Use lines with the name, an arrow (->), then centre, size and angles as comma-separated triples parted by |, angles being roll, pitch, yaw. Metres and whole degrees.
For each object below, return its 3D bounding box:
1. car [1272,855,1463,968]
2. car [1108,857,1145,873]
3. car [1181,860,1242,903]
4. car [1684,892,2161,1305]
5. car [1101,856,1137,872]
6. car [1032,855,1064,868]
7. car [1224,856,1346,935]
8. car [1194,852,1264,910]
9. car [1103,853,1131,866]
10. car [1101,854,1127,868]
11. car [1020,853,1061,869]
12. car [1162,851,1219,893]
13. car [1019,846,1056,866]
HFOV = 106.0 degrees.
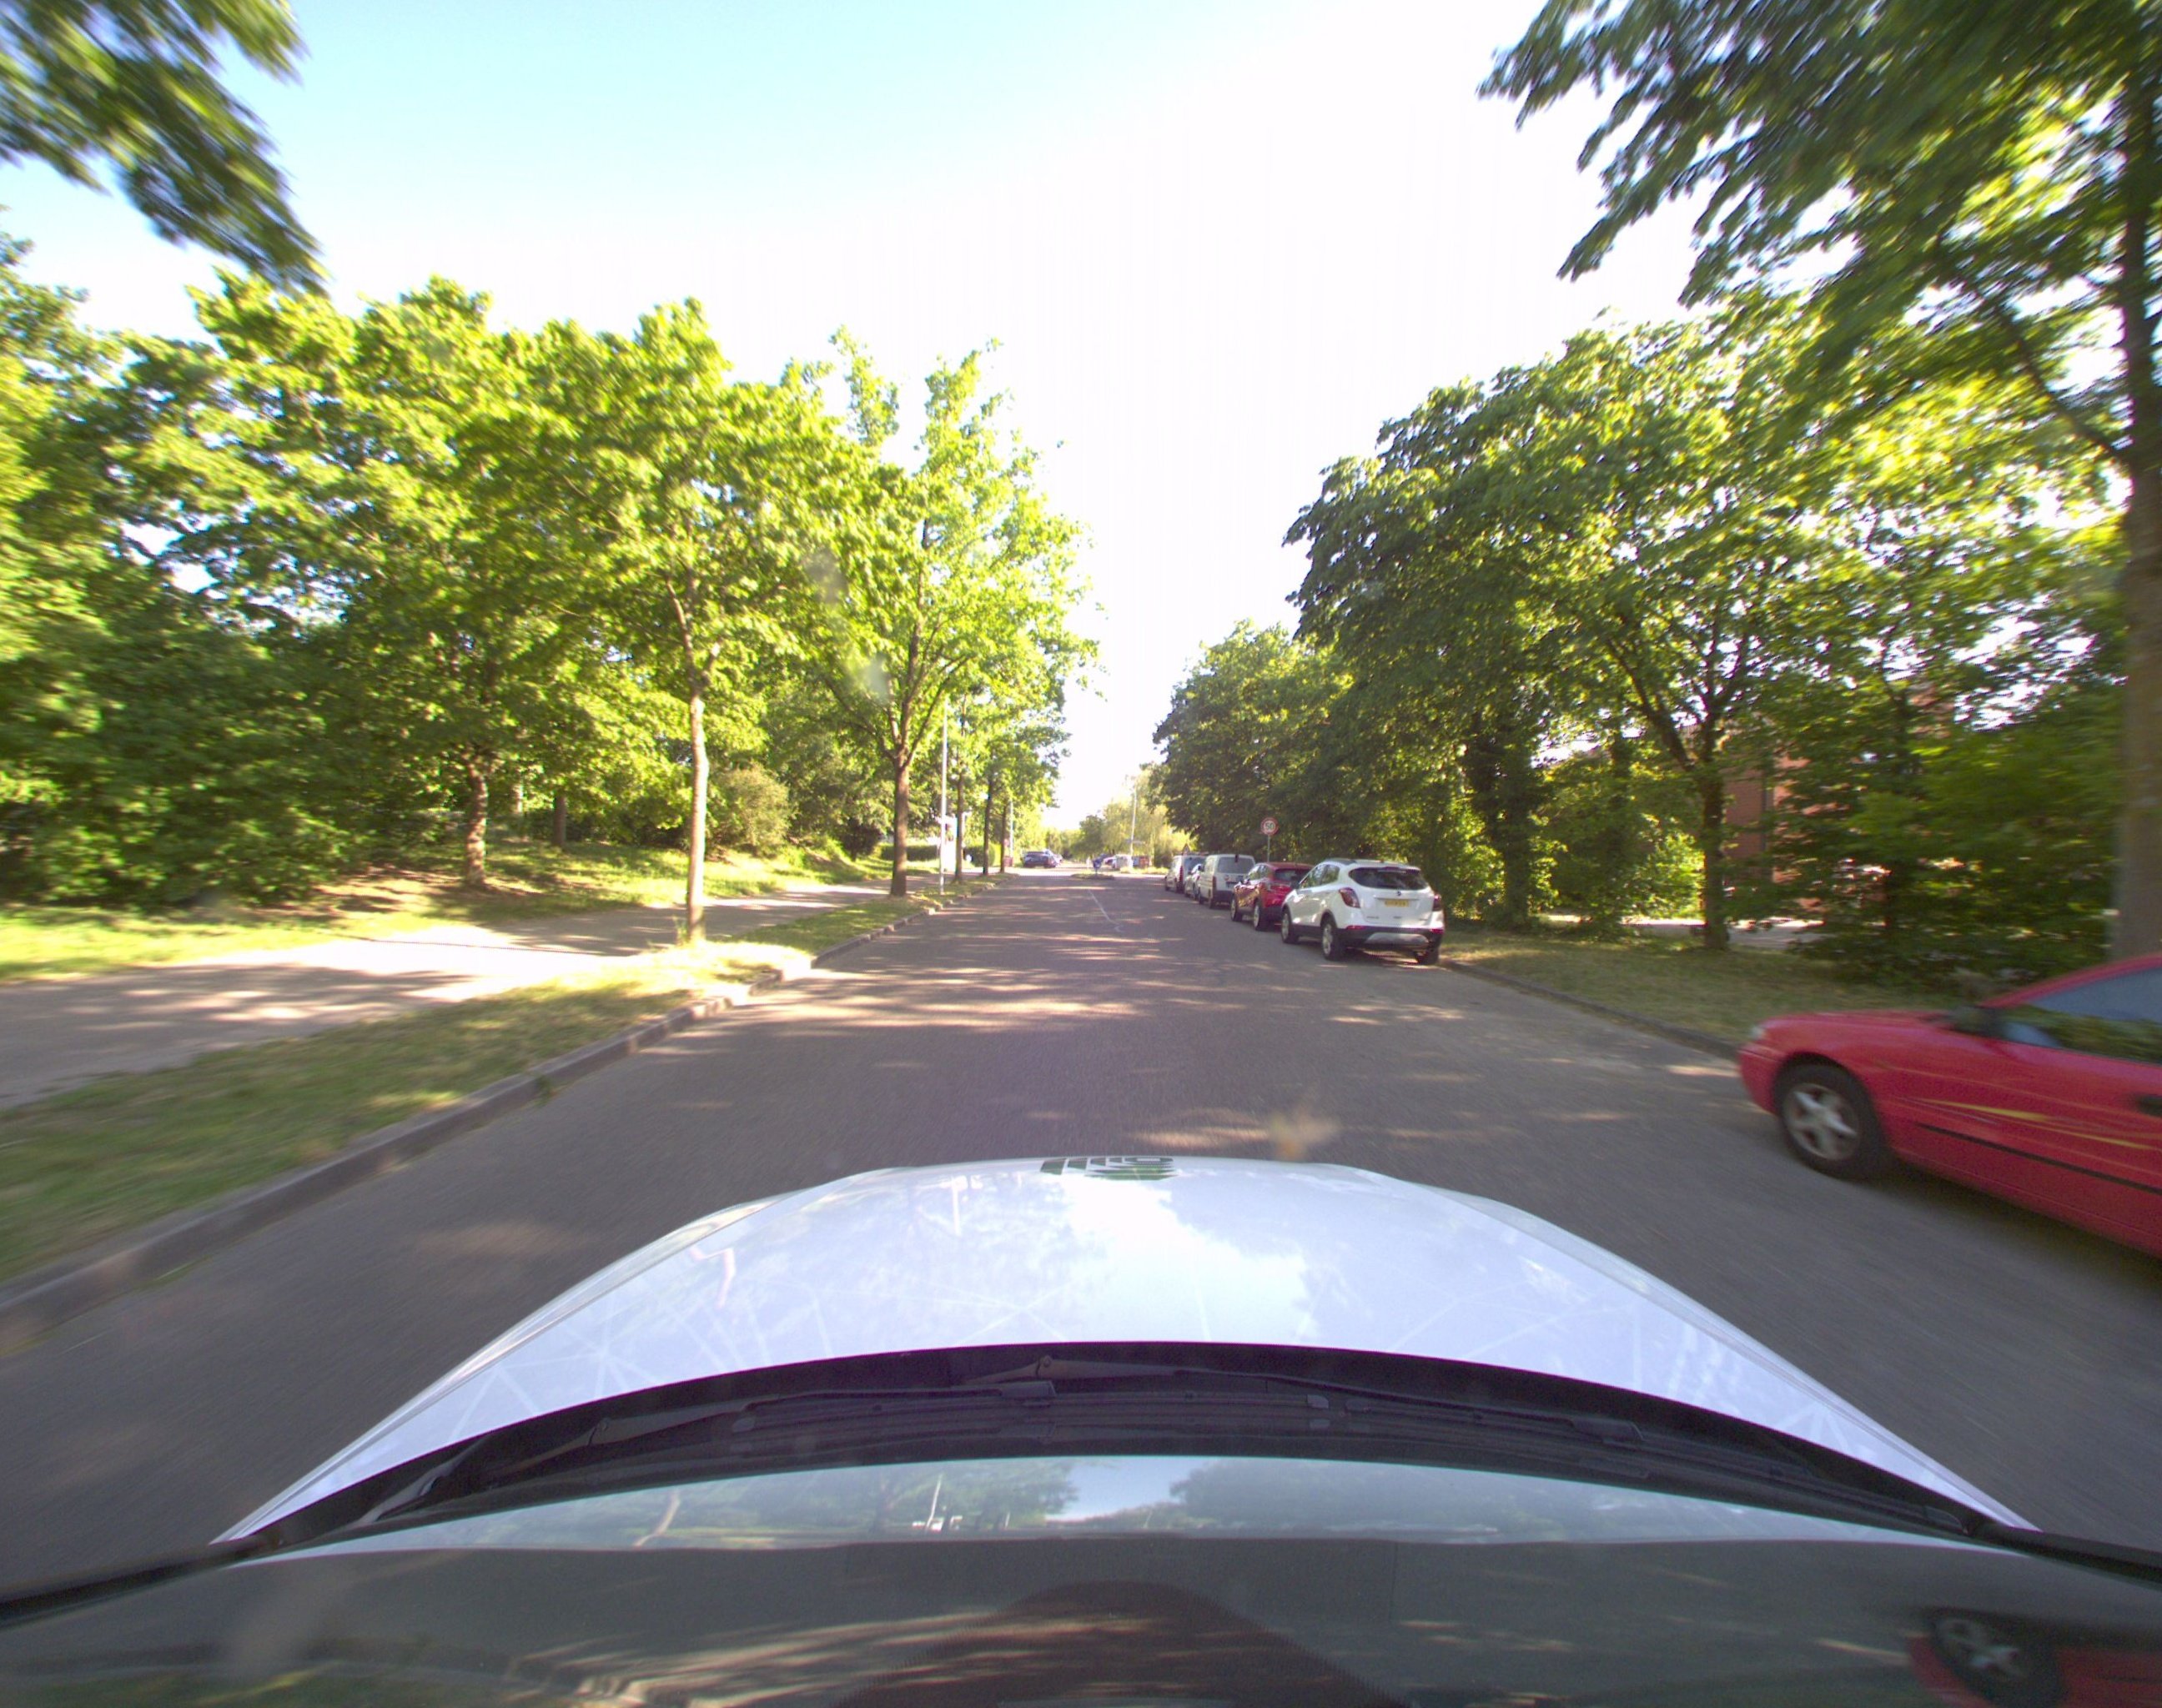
car -> 4.808, 0.878, 14.326 | 1.771, 1.621, 4.062 | 3, 0, -2
car -> 4.897, 1.176, 88.246 | 3.819, 1.576, 1.691 | 3, 0, 6
car -> 5.163, 1.040, 32.712 | 1.686, 1.512, 4.205 | 3, 0, 0
car -> 4.698, 0.961, 3.112 | 1.656, 1.375, 4.153 | 3, 0, 0
car -> 4.236, 1.109, 91.062 | 3.819, 1.576, 1.691 | 3, 0, 6
car -> -4.411, 1.023, 108.942 | 4.092, 1.576, 1.959 | 3, 0, 1
car -> 4.803, 0.910, 19.753 | 1.771, 1.621, 4.062 | 3, 0, -2
car -> 4.941, 0.864, 27.582 | 1.618, 1.773, 3.668 | 3, 0, 0
car -> 5.140, 0.765, 116.815 | 3.821, 1.576, 1.690 | 3, 0, 4
car -> 4.960, 1.054, 123.010 | 3.821, 1.796, 1.690 | 3, -1, 4
car -> -4.545, 0.781, 92.640 | 4.296, 1.576, 2.049 | 3, 0, 6
car -> 5.132, 0.810, 38.860 | 1.787, 1.785, 4.551 | 3, 0, -3
car -> -6.359, 0.291, 117.866 | 5.192, 2.621, 2.289 | 3, -1, -6
